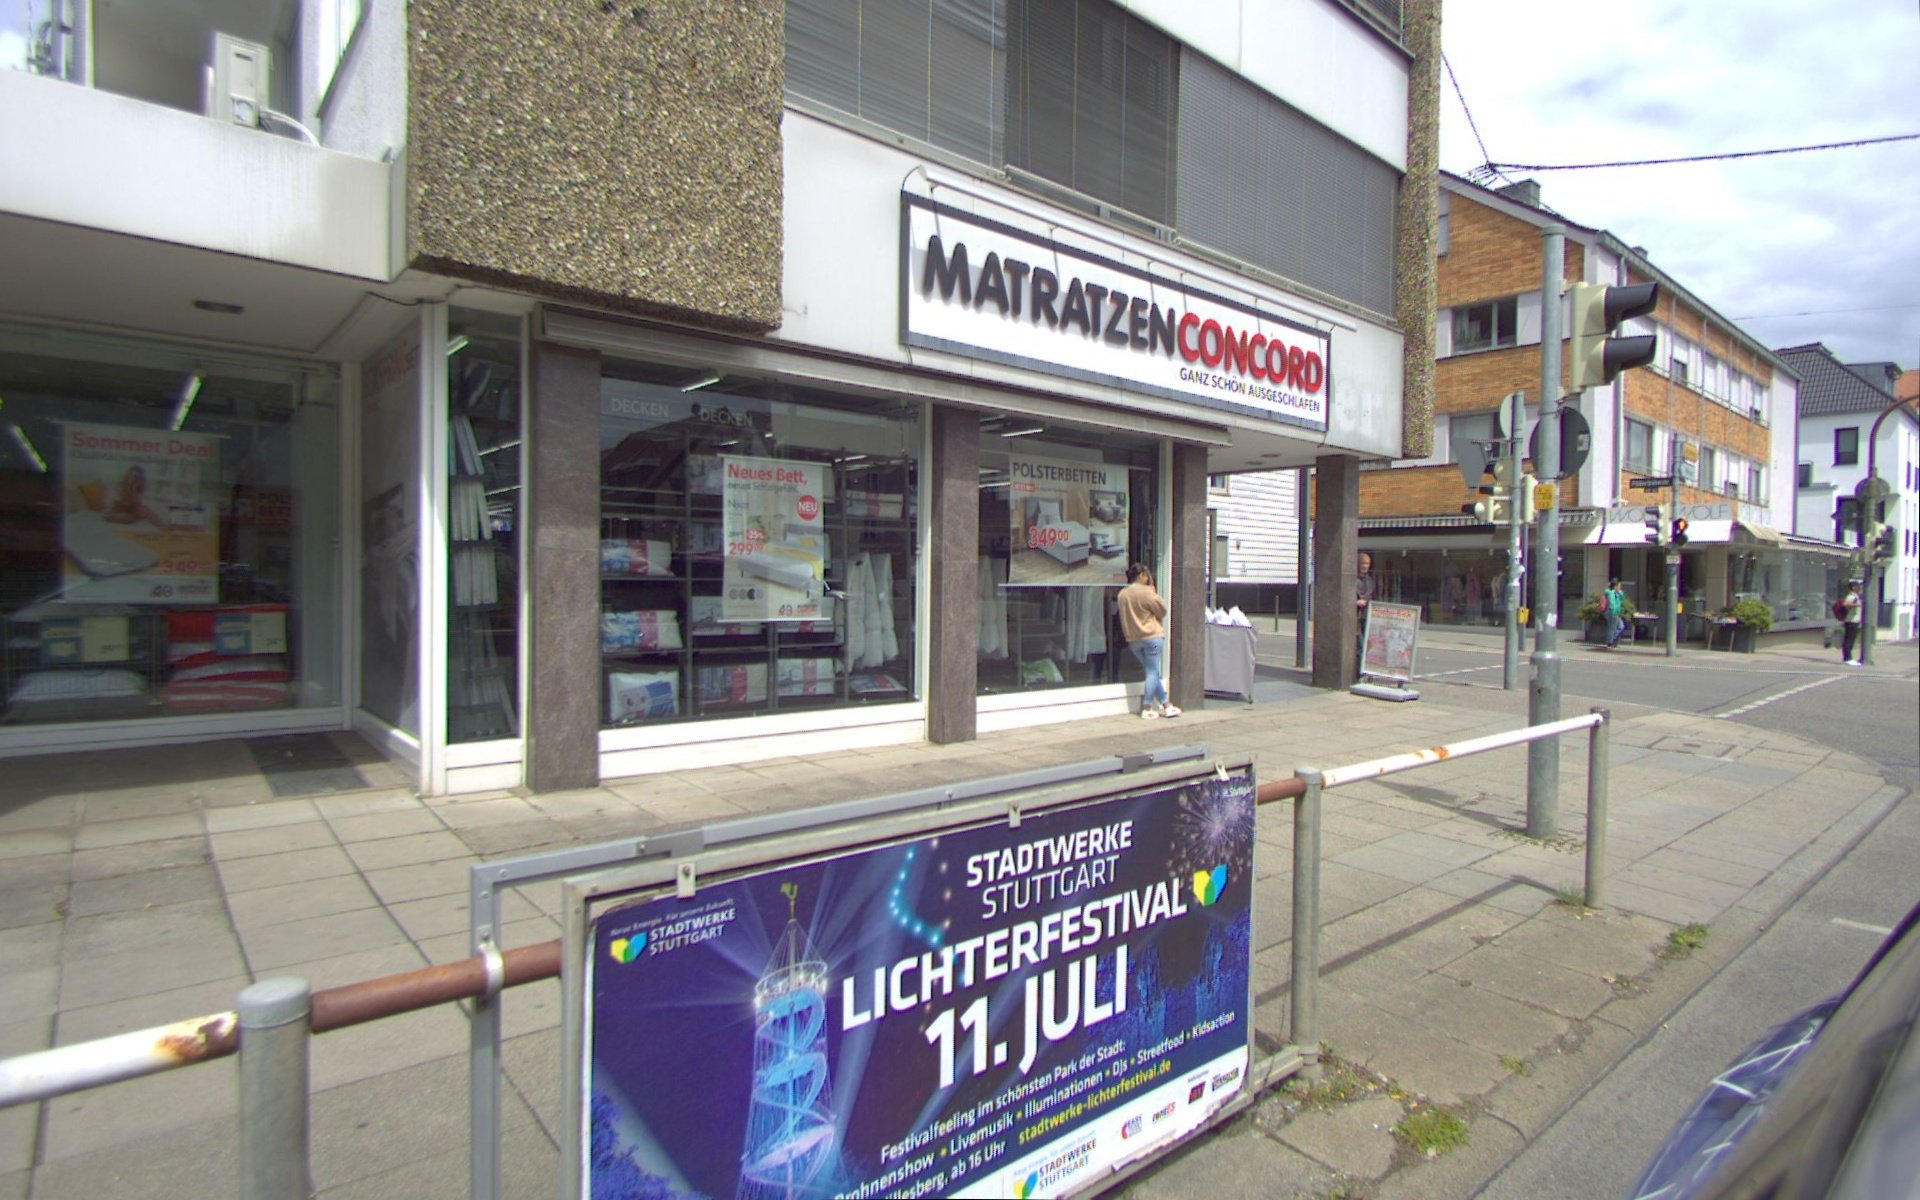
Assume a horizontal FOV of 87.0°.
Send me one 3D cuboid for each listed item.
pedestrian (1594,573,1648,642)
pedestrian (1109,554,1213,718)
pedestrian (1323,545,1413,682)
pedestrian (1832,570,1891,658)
[{"bbox_3d":[15.248,0.158,23.347,0.766,1.544,0.818,0,2,-42],"label":"pedestrian"},{"bbox_3d":[1.957,0.323,9.866,0.707,1.517,0.681,0,1,-41],"label":"pedestrian"},{"bbox_3d":[5.258,0.158,13.094,0.782,1.691,0.807,2,1,1],"label":"pedestrian"},{"bbox_3d":[19.491,0.285,21.891,0.862,1.853,0.583,1,2,-24],"label":"pedestrian"}]
